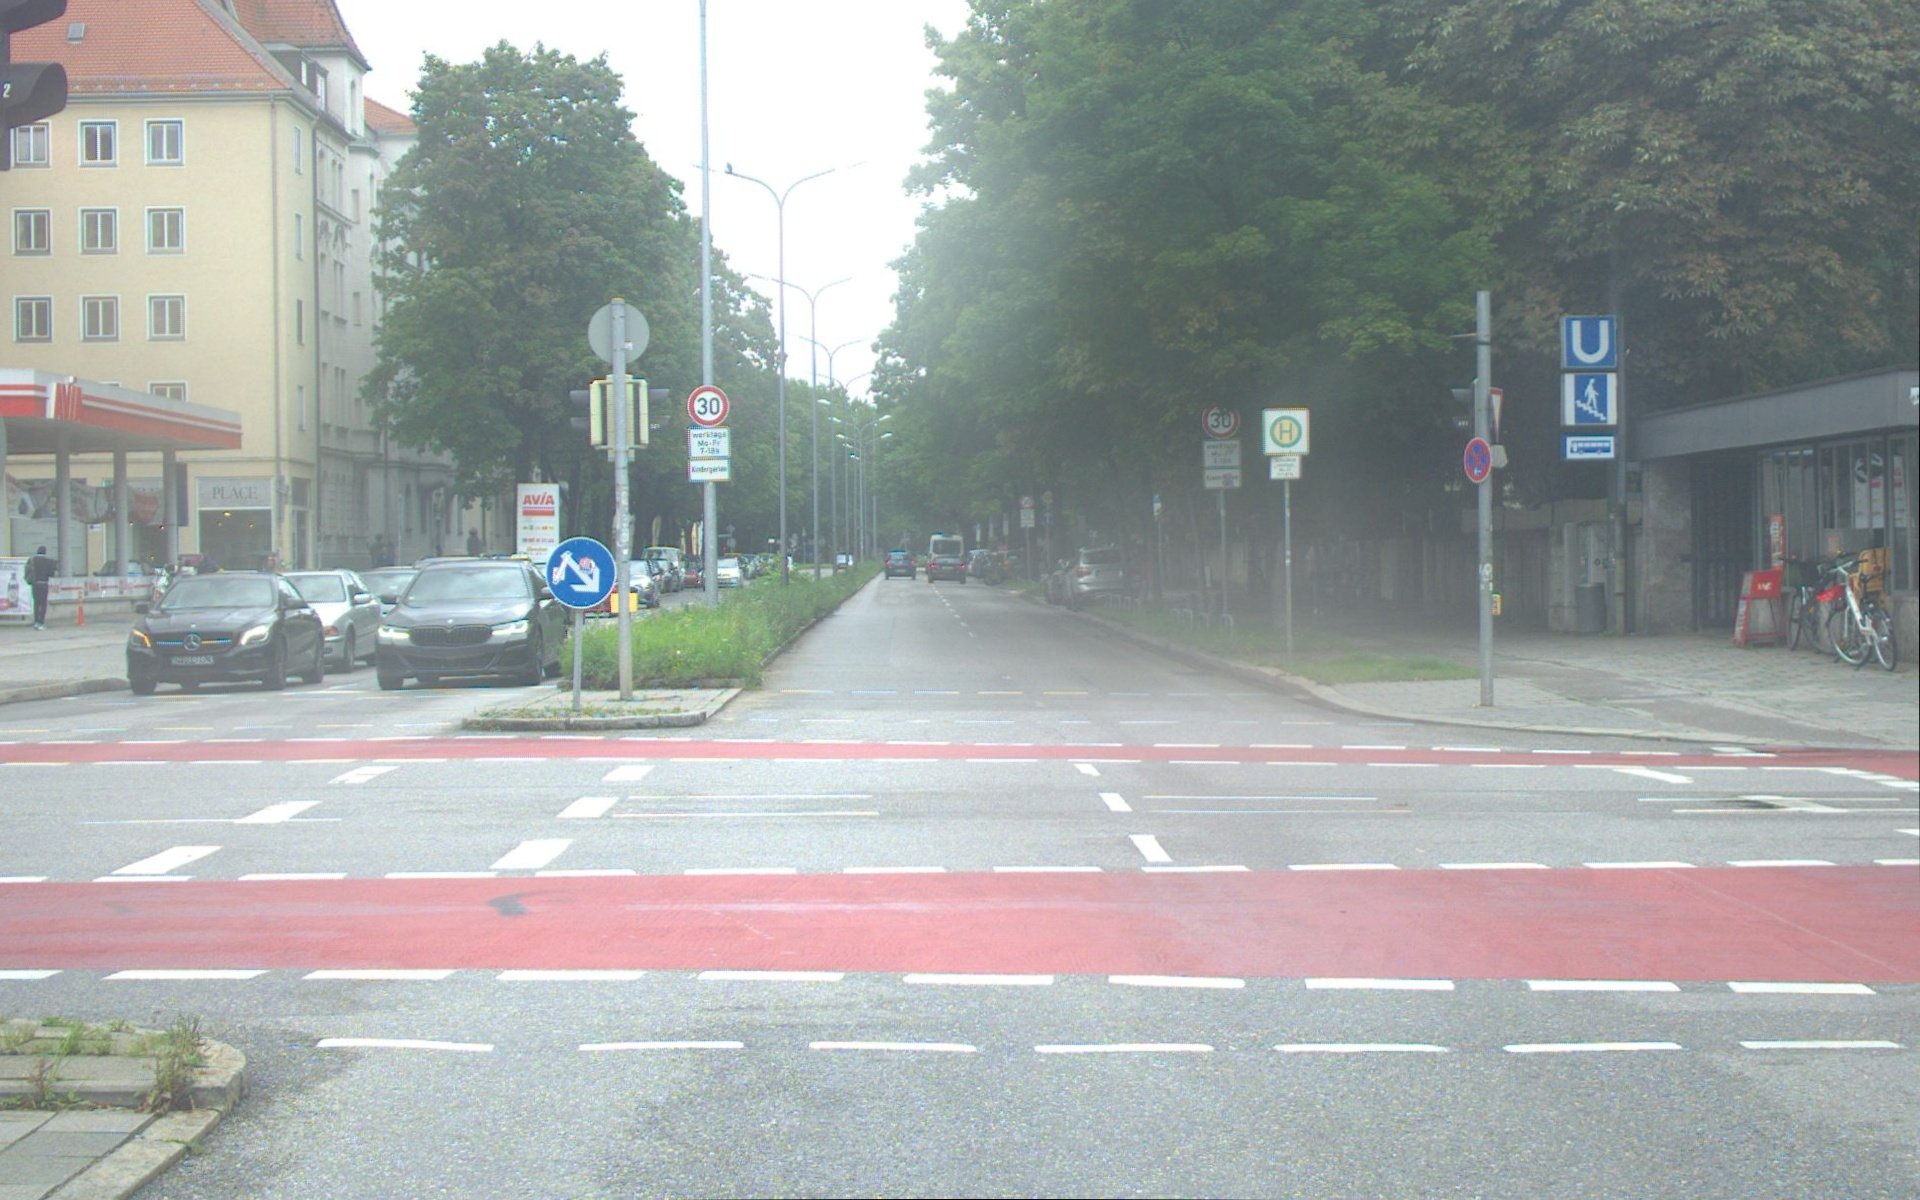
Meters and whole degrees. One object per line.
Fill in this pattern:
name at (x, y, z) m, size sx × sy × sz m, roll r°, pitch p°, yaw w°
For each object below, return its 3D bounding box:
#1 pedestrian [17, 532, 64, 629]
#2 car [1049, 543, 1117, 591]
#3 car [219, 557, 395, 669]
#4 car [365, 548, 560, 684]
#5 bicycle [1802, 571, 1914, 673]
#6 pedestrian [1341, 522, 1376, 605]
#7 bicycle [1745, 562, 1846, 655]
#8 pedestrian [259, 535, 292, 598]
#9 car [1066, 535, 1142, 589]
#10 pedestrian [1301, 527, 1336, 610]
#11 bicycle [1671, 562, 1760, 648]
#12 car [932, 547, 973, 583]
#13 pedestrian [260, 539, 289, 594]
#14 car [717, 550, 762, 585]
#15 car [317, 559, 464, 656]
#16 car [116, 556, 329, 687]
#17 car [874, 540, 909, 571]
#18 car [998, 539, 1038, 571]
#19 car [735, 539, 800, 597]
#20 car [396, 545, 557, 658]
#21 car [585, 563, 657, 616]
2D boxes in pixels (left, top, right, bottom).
pedestrian at (-19.268, -0.414, 72.031) m, size 0.730 × 2.007 × 0.834 m, roll 1°, pitch 0°, yaw -1°
car at (3.553, -0.969, 99.735) m, size 1.743 × 1.358 × 3.807 m, roll -1°, pitch 1°, yaw -1°
car at (-9.142, 0.152, 48.394) m, size 1.759 × 1.455 × 4.000 m, roll -1°, pitch 1°, yaw -1°
car at (-5.784, 0.148, 40.376) m, size 1.759 × 1.488 × 4.000 m, roll -1°, pitch 1°, yaw -1°
bicycle at (9.414, 0.218, 36.093) m, size 0.556 × 1.011 × 2.016 m, roll -1°, pitch 1°, yaw -3°
pedestrian at (8.136, -0.747, 70.235) m, size 0.678 × 1.677 × 0.682 m, roll 0°, pitch 1°, yaw 5°
bicycle at (9.424, 0.081, 38.825) m, size 0.556 × 1.011 × 2.016 m, roll -1°, pitch 1°, yaw -3°
pedestrian at (-17.862, -0.873, 89.716) m, size 0.696 × 1.632 × 0.738 m, roll -1°, pitch 1°, yaw -1°
car at (3.739, -0.995, 89.714) m, size 1.743 × 1.358 × 3.807 m, roll -1°, pitch 1°, yaw -1°
pedestrian at (7.291, -0.650, 69.892) m, size 0.678 × 1.677 × 0.682 m, roll 0°, pitch 1°, yaw 5°
bicycle at (9.267, 0.051, 42.205) m, size 0.556 × 1.011 × 2.016 m, roll -1°, pitch 1°, yaw -3°
car at (-0.370, -1.727, 168.068) m, size 1.922 × 1.678 × 4.000 m, roll -1°, pitch 1°, yaw -1°
pedestrian at (-20.512, -0.994, 102.836) m, size 0.696 × 1.632 × 0.738 m, roll -1°, pitch 1°, yaw -1°
car at (-9.602, -1.425, 149.804) m, size 1.759 × 1.455 × 4.000 m, roll -1°, pitch 1°, yaw -1°
car at (-9.119, 0.090, 55.310) m, size 1.759 × 1.455 × 4.000 m, roll -1°, pitch 1°, yaw -1°
car at (-8.824, 0.223, 41.440) m, size 1.759 × 1.455 × 4.000 m, roll -1°, pitch 1°, yaw -1°
car at (-3.777, -2.442, 189.427) m, size 1.857 × 1.678 × 4.000 m, roll -1°, pitch 1°, yaw -1°
car at (2.677, -2.106, 159.245) m, size 1.743 × 1.422 × 3.899 m, roll -1°, pitch 1°, yaw -1°
car at (-4.769, -0.807, 85.544) m, size 1.468 × 1.394 × 3.700 m, roll -1°, pitch 1°, yaw -1°
car at (-6.732, -0.013, 48.197) m, size 1.759 × 1.488 × 4.000 m, roll -1°, pitch 1°, yaw -1°
car at (-9.918, -0.331, 100.863) m, size 1.759 × 1.488 × 4.000 m, roll -1°, pitch 1°, yaw -1°
